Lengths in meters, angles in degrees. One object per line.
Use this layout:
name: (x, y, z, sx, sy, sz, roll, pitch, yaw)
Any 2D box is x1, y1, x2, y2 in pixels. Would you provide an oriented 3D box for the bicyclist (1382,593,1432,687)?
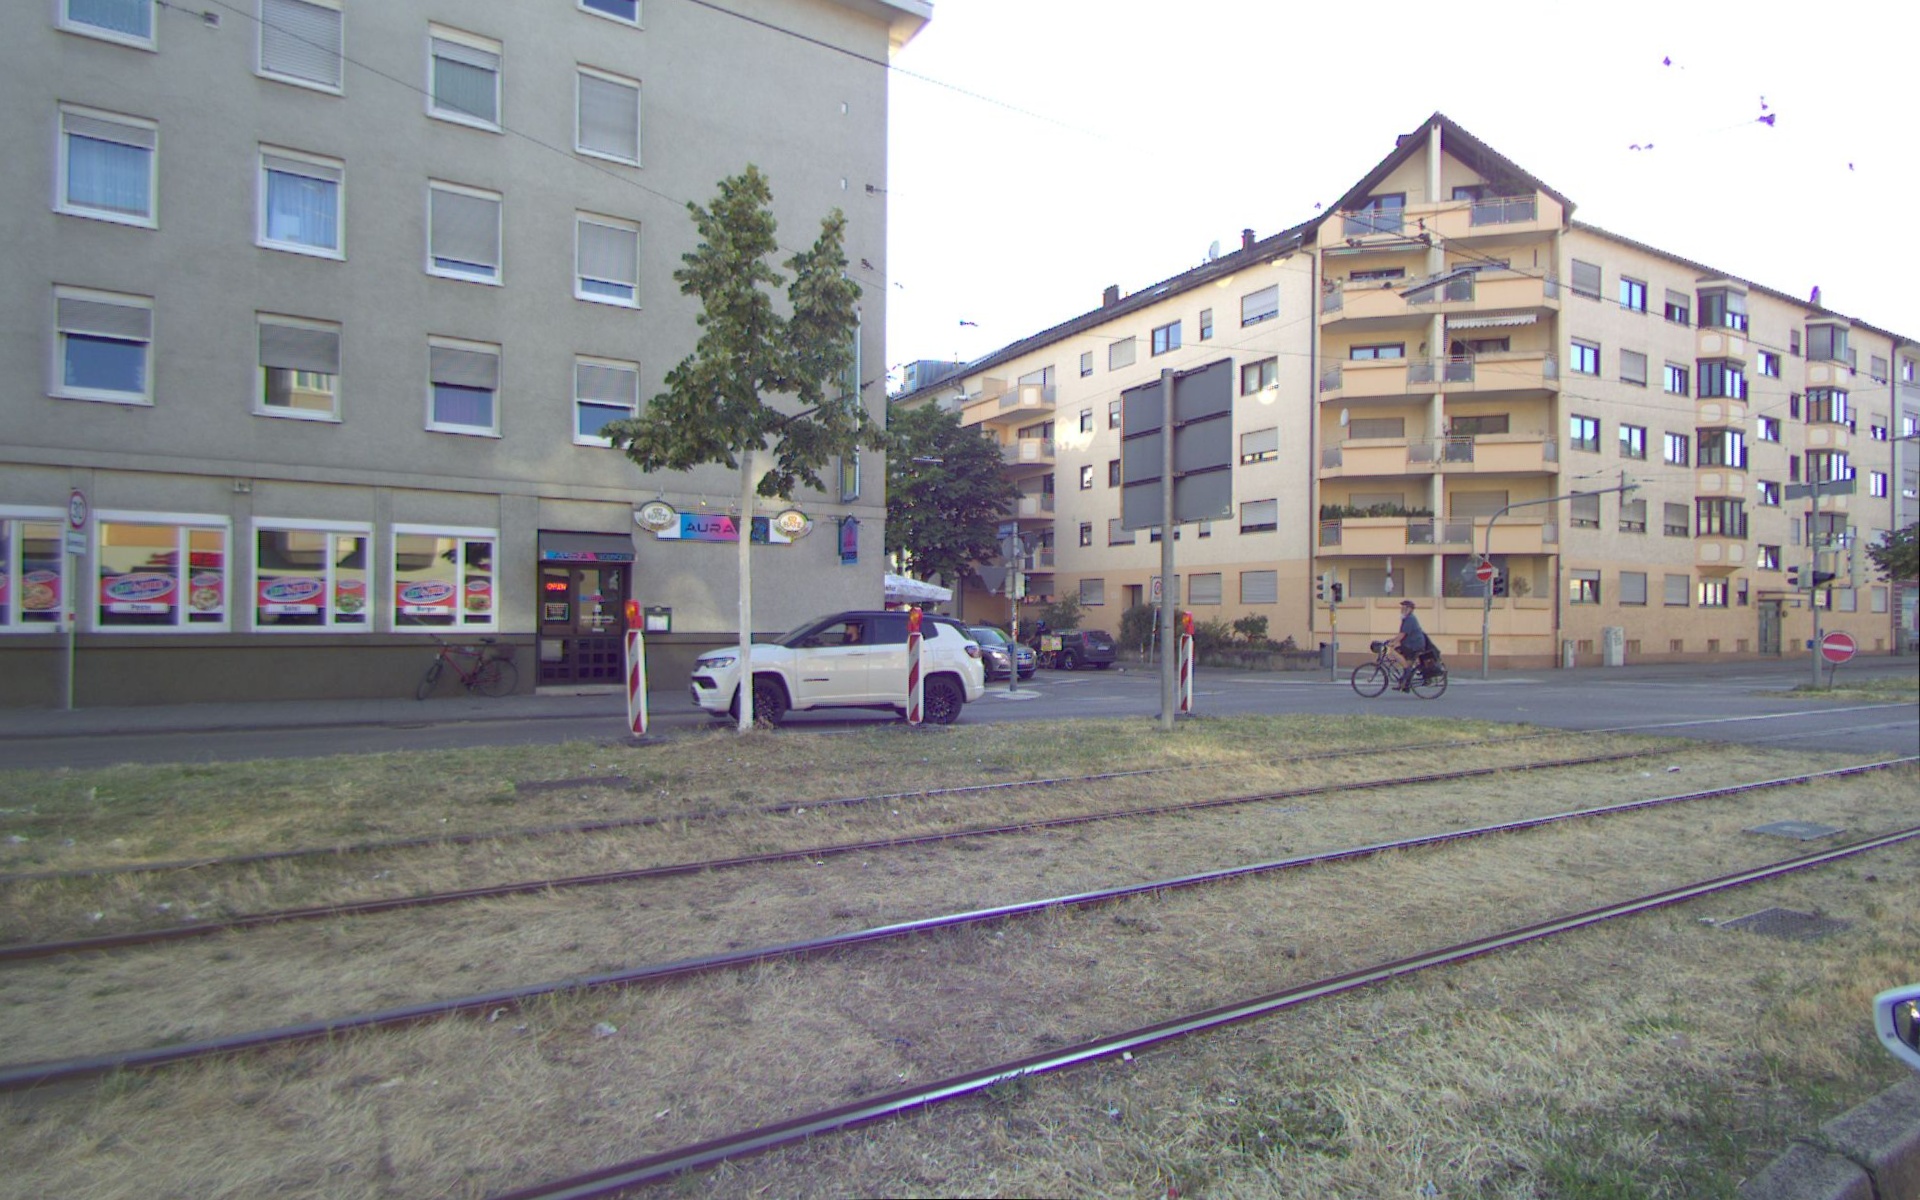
bicyclist: (9.246, 0.815, 20.762, 0.796, 1.907, 0.651, -1, 0, 37)

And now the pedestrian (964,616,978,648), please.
pedestrian: (0.559, 1.615, 50.334, 0.509, 1.573, 0.547, 2, 0, -24)

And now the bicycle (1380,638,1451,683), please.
bicycle: (13.306, 1.753, 29.353, 1.833, 1.274, 0.457, 0, 0, 3)

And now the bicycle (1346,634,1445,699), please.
bicycle: (9.046, 1.364, 20.902, 1.839, 1.274, 0.455, 0, 0, 35)

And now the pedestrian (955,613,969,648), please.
pedestrian: (0.112, 1.523, 49.980, 0.456, 1.727, 0.589, 2, 0, -24)

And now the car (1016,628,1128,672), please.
car: (4.142, 1.830, 37.585, 1.982, 1.462, 3.957, -1, 0, -38)

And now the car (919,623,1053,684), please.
car: (0.733, 1.602, 31.436, 1.982, 1.645, 4.153, -3, 1, -38)

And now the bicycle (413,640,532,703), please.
bicycle: (-8.588, 1.246, 17.714, 1.823, 1.037, 0.605, 2, 0, -31)

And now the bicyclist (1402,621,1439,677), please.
bicyclist: (13.468, 1.426, 29.391, 0.793, 1.607, 0.628, 0, 0, 4)

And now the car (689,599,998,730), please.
car: (-1.789, 0.939, 15.077, 4.323, 1.757, 1.993, 1, -3, -18)
